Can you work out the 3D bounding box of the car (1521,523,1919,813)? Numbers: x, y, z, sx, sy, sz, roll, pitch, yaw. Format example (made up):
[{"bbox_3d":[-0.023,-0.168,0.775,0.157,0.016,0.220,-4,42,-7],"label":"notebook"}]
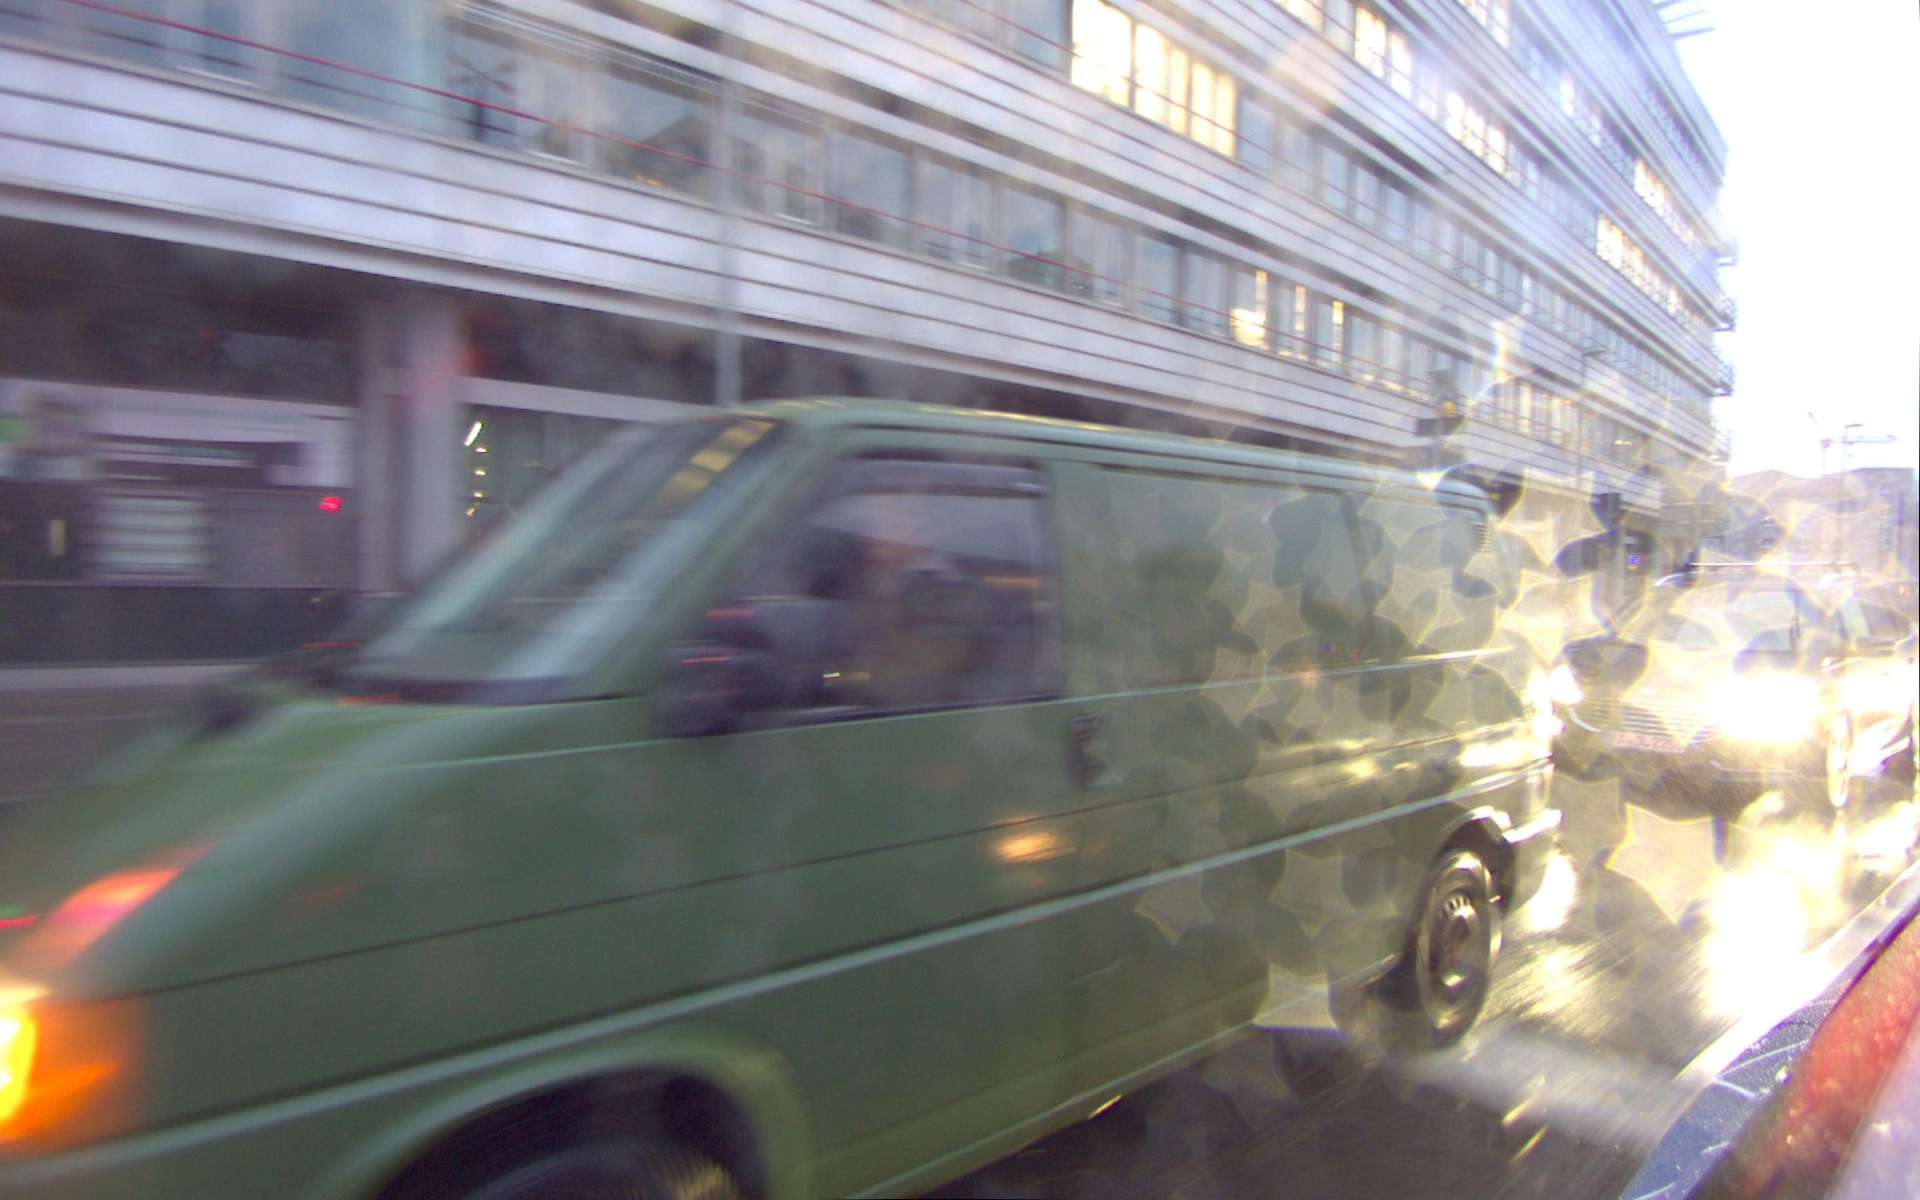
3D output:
[{"bbox_3d":[6.788,0.414,8.630,4.603,1.842,1.909,0,0,-38],"label":"car"}]

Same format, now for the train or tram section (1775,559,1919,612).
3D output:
[{"bbox_3d":[88.422,-1.412,98.976,3.662,4.921,13.409,0,1,-25],"label":"train or tram section"}]

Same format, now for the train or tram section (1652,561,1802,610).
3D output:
[{"bbox_3d":[83.625,-1.569,110.895,3.660,4.994,13.415,0,1,-18],"label":"train or tram section"}]

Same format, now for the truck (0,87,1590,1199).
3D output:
[{"bbox_3d":[-0.034,0.408,3.078,4.533,1.941,1.909,0,0,-38],"label":"truck"}]
